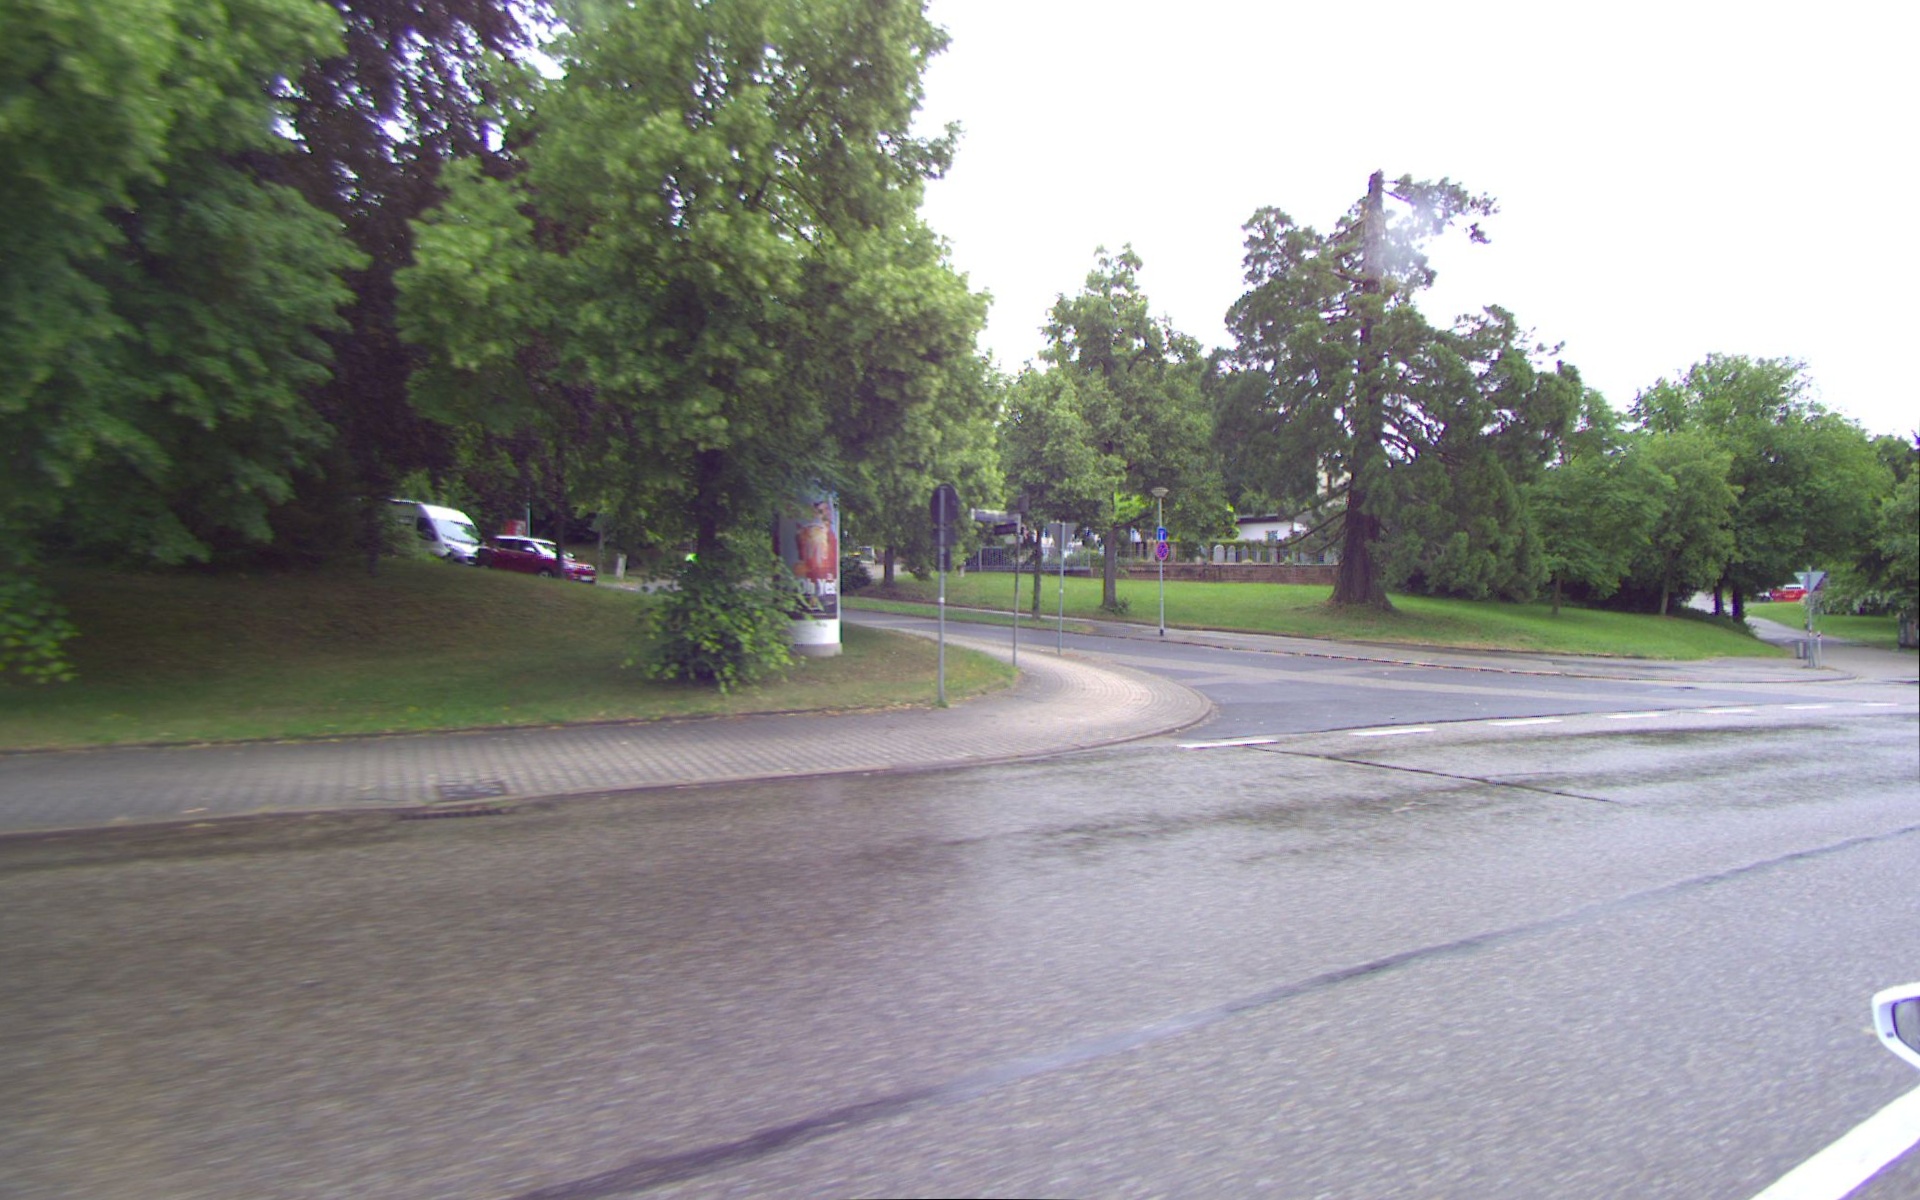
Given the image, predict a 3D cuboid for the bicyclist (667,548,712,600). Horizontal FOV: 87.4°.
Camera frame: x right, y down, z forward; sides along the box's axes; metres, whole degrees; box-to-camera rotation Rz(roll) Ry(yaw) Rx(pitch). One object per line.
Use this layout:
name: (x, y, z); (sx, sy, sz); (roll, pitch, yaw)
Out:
bicyclist: (-9.892, -0.942, 36.785); (1.260, 1.778, 0.855); (3, -1, 16)

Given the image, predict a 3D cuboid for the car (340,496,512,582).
car: (-18.560, -2.124, 34.907); (5.560, 2.735, 2.156); (3, 1, 22)

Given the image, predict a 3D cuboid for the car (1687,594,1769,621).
car: (47.574, 0.462, 62.252); (3.853, 1.506, 1.925); (3, 0, 42)

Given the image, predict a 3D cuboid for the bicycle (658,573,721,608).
bicycle: (-9.901, -0.354, 36.766); (1.997, 1.170, 0.855); (3, -1, 16)

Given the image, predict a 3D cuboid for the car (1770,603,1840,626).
car: (62.650, 1.036, 74.494); (3.853, 1.506, 1.925); (3, 0, 42)

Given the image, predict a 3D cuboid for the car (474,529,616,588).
car: (-13.652, -1.357, 33.082); (3.920, 1.690, 1.978); (3, 1, 18)
